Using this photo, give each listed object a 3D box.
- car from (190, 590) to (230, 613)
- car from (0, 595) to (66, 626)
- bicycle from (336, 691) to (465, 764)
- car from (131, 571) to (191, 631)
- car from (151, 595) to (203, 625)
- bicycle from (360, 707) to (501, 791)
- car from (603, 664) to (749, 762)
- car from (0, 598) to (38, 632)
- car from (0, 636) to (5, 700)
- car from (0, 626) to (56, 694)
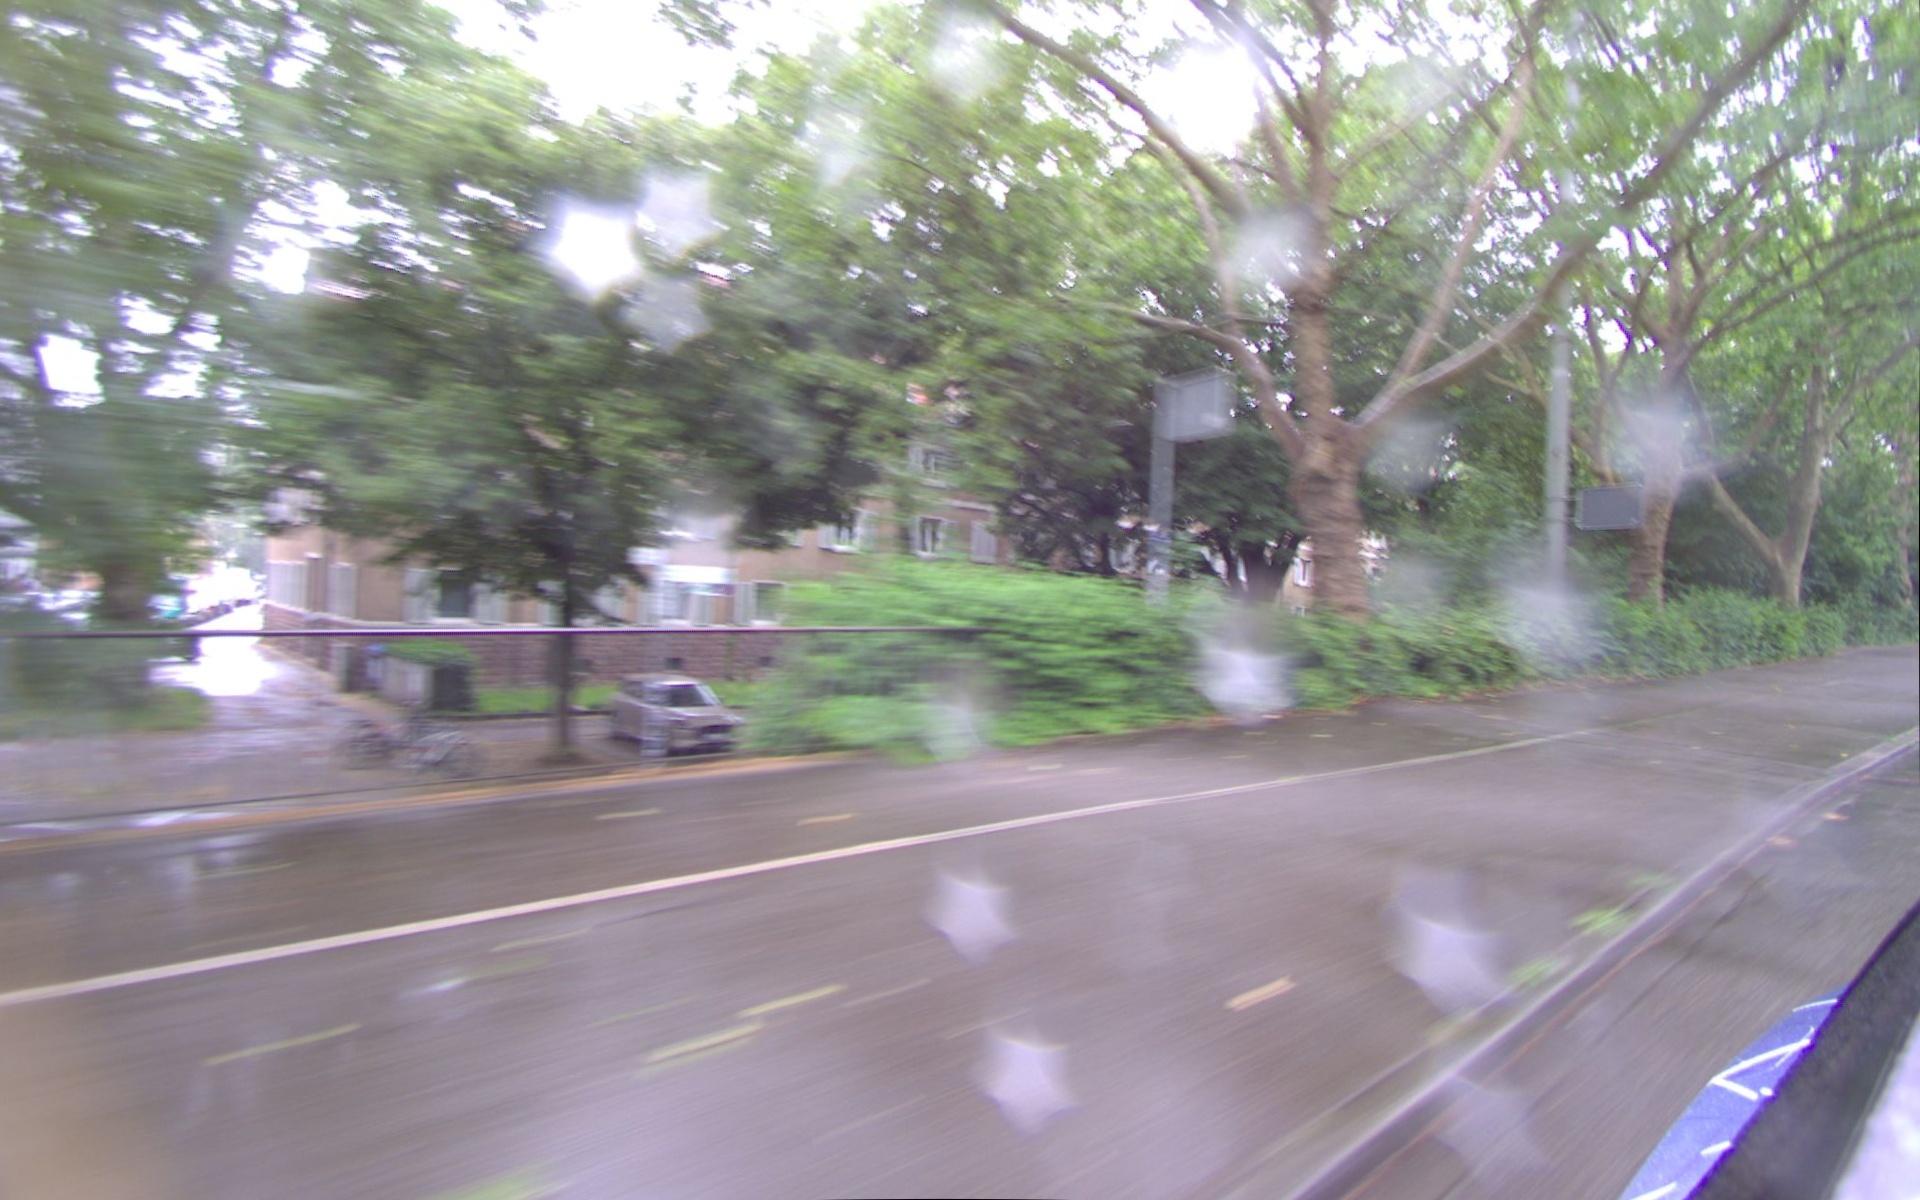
[{"bbox_3d":[-51.795,0.092,69.944,1.888,1.488,3.912,-1,2,-33],"label":"car"},{"bbox_3d":[-48.675,0.518,53.229,1.888,1.488,3.912,-1,2,-33],"label":"car"},{"bbox_3d":[-10.635,2.394,19.288,0.642,1.188,1.998,4,1,42],"label":"bicycle"},{"bbox_3d":[-38.594,-0.013,48.974,1.888,2.739,3.912,-1,1,-33],"label":"car"},{"bbox_3d":[-42.661,0.523,55.233,1.888,1.488,3.912,-1,2,-33],"label":"car"},{"bbox_3d":[-8.995,2.507,17.271,0.642,1.188,1.998,2,-1,42],"label":"bicycle"},{"bbox_3d":[-6.297,2.387,22.200,1.736,1.466,3.734,-1,4,-40],"label":"car"},{"bbox_3d":[-45.696,0.686,48.270,1.888,1.488,3.912,-1,2,-33],"label":"car"},{"bbox_3d":[-22.561,1.664,22.015,1.888,1.488,3.912,-1,2,-33],"label":"car"},{"bbox_3d":[-24.983,1.525,26.070,1.888,1.488,3.912,-1,2,-33],"label":"car"}]
